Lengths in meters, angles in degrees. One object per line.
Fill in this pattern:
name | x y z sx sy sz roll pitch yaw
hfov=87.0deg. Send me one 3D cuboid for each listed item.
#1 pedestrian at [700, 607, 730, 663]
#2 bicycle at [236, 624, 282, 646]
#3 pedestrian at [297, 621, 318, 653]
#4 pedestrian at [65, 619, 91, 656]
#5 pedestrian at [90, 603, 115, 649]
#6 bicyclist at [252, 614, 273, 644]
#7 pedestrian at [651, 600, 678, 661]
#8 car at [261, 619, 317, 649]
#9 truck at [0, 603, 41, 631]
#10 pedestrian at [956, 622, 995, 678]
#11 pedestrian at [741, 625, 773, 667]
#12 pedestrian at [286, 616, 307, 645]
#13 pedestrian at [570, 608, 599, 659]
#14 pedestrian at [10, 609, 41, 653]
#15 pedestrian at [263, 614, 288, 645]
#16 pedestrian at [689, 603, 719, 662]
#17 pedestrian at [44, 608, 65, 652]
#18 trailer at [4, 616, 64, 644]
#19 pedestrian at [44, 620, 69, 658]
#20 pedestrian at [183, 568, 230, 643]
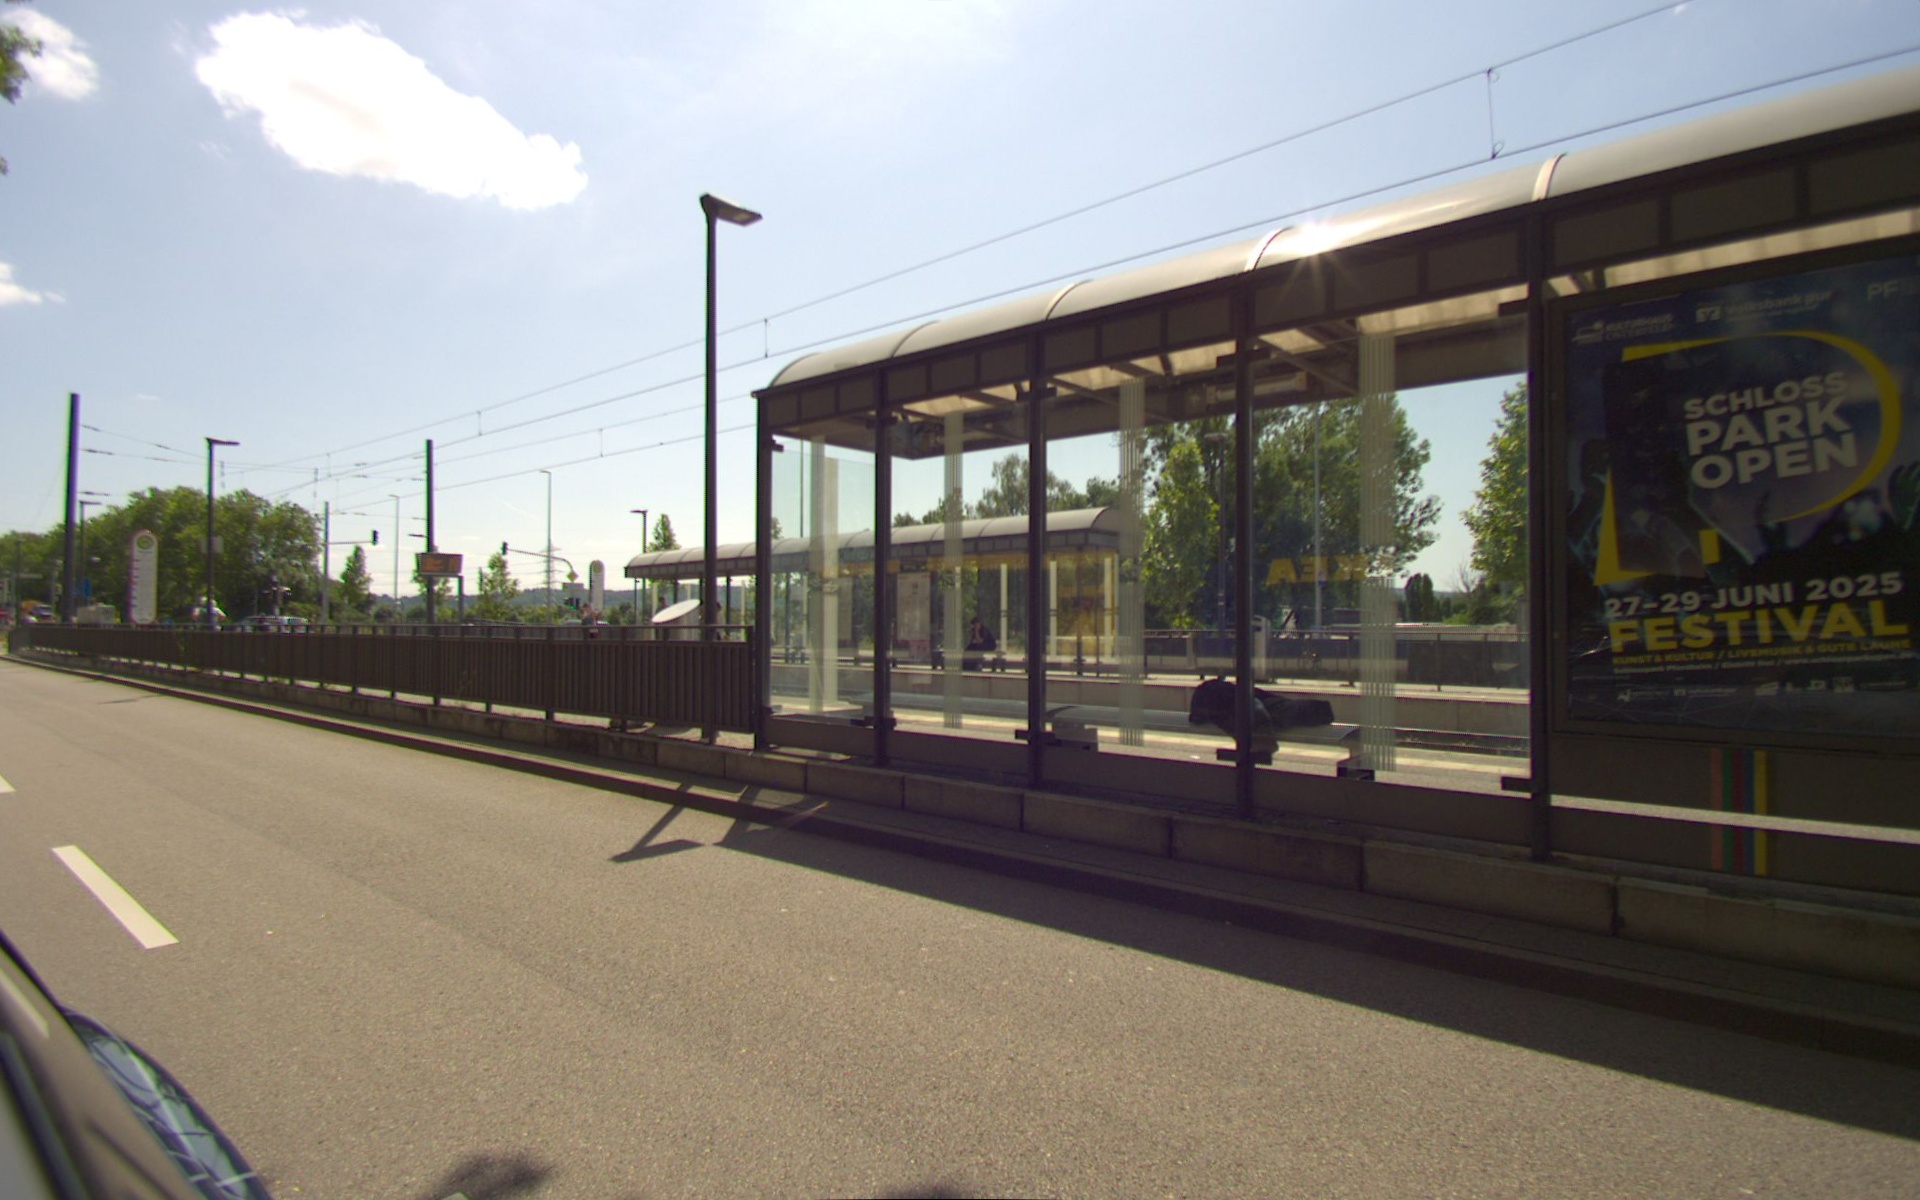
pedestrian | -6.810 0.965 28.160 0.639 1.545 0.570 -2 -2 42
bicycle | -38.334 1.916 55.349 0.760 1.109 1.960 -1 -1 26
pedestrian | -34.853 1.994 54.047 0.763 1.685 0.754 -2 -2 39
pedestrian | -32.733 1.387 37.557 0.719 1.355 0.607 -1 -1 40
pedestrian | -32.408 0.982 38.261 0.719 1.694 0.607 -1 -1 40
bicyclist | -38.282 1.563 55.547 0.729 1.627 0.660 -1 -1 26
pedestrian | -8.604 0.890 29.475 0.726 1.742 0.579 0 -2 -11
car | -40.687 2.022 61.326 4.000 1.641 1.972 -1 0 43
truck | -141.205 2.520 151.979 7.457 4.069 3.099 -2 -1 35
pedestrian | 0.336 1.075 21.918 0.639 1.199 0.570 -2 -2 42
pedestrian | -5.396 1.214 26.910 0.639 1.103 0.570 -2 -2 42
pedestrian | -35.886 1.657 54.737 0.763 1.560 0.754 -2 -2 39
pedestrian | -12.334 1.098 33.242 0.804 1.650 0.552 -1 -2 35
pedestrian | -39.259 1.293 42.513 0.882 1.816 0.854 -1 -1 38
pedestrian | -37.077 1.602 54.818 0.763 1.622 0.947 -2 -2 39
pedestrian | -7.275 0.920 28.800 0.814 1.651 0.579 0 -2 -11
pedestrian | -33.777 1.116 37.747 0.556 1.590 0.492 -2 -2 40
trailer | -135.360 4.372 147.817 15.444 3.900 3.088 -1 -2 35
pedestrian | -40.376 1.736 45.228 0.678 1.685 0.725 -2 -2 39
pedestrian | -17.249 0.145 23.159 0.742 1.678 0.725 -2 -2 41
